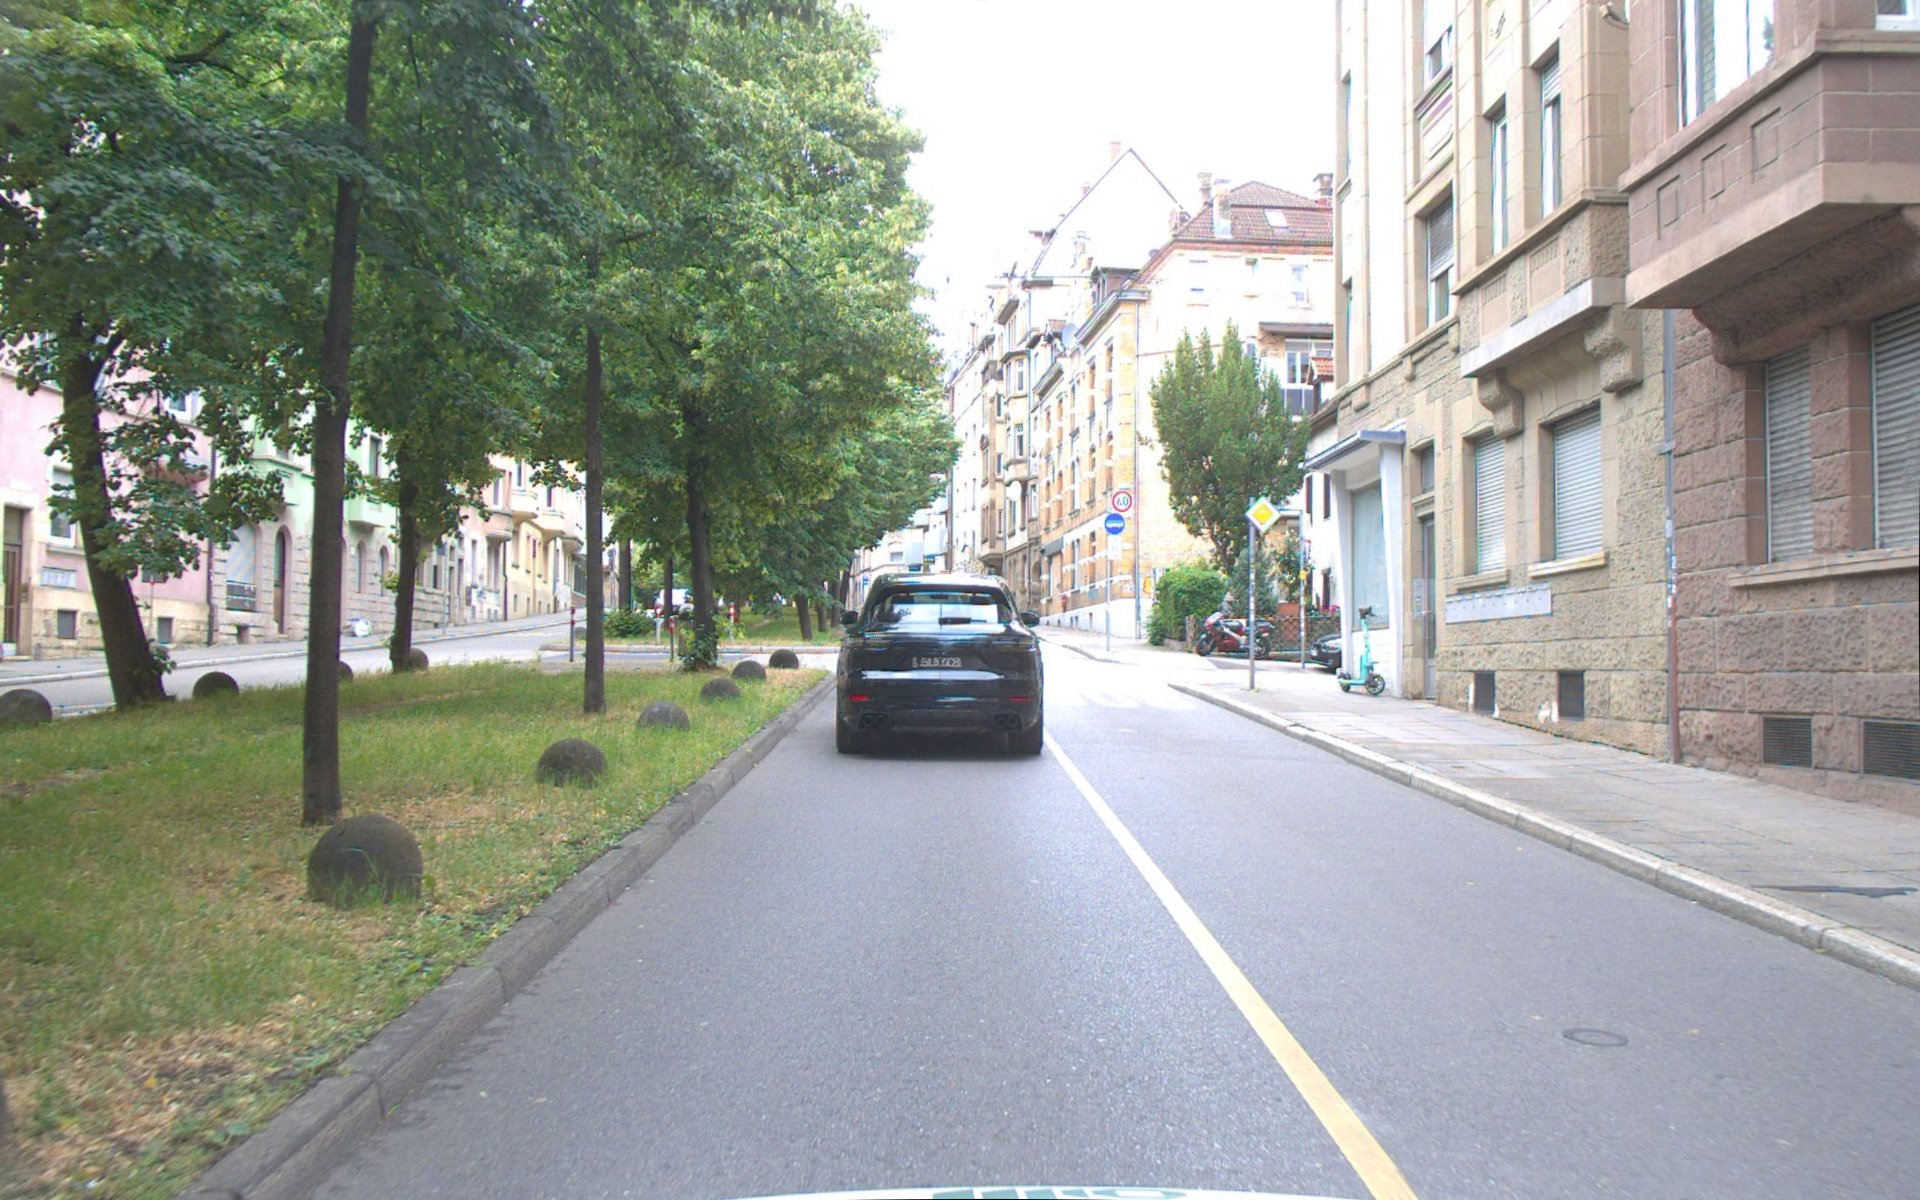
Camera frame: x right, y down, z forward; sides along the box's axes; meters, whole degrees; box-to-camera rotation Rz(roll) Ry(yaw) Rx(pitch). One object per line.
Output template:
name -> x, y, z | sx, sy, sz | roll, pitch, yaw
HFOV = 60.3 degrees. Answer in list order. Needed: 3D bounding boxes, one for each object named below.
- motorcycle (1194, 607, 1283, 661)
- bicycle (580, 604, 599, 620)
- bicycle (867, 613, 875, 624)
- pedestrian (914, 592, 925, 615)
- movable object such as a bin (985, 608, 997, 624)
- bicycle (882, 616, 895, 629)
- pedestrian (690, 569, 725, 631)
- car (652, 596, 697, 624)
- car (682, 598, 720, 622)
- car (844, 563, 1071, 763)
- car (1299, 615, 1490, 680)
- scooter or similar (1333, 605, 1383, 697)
motorcycle -> 7.109, 0.862, 42.248 | 2.015, 1.290, 1.009 | 2, 0, -6
bicycle -> -27.562, 0.905, 122.957 | 0.754, 1.104, 2.016 | 3, -3, -29
bicycle -> -8.802, 1.807, 163.487 | 0.438, 1.055, 2.243 | 1, -3, -10
pedestrian -> -3.083, 0.286, 126.616 | 0.737, 1.723, 0.857 | 1, -2, -7
movable object such as a bin -> 1.752, 0.903, 93.207 | 0.583, 0.920, 0.562 | 2, -1, -6
bicycle -> -6.574, 2.055, 152.565 | 0.862, 1.149, 2.973 | 2, -2, -9
pedestrian -> -7.330, 0.004, 48.099 | 0.816, 1.742, 1.122 | -2, -2, -2
car -> -15.286, 0.501, 88.752 | 1.674, 1.406, 4.668 | -1, 1, -1
car -> -16.182, 0.618, 103.522 | 1.722, 1.406, 4.668 | -1, 1, -1
car -> -0.121, 0.538, 16.555 | 1.954, 1.694, 3.998 | 2, 0, -3
car -> 10.392, 1.130, 39.727 | 4.043, 1.307, 1.782 | 2, 3, -4
scooter or similar -> 5.736, 0.717, 23.865 | 0.401, 1.231, 1.145 | -2, 3, -1
